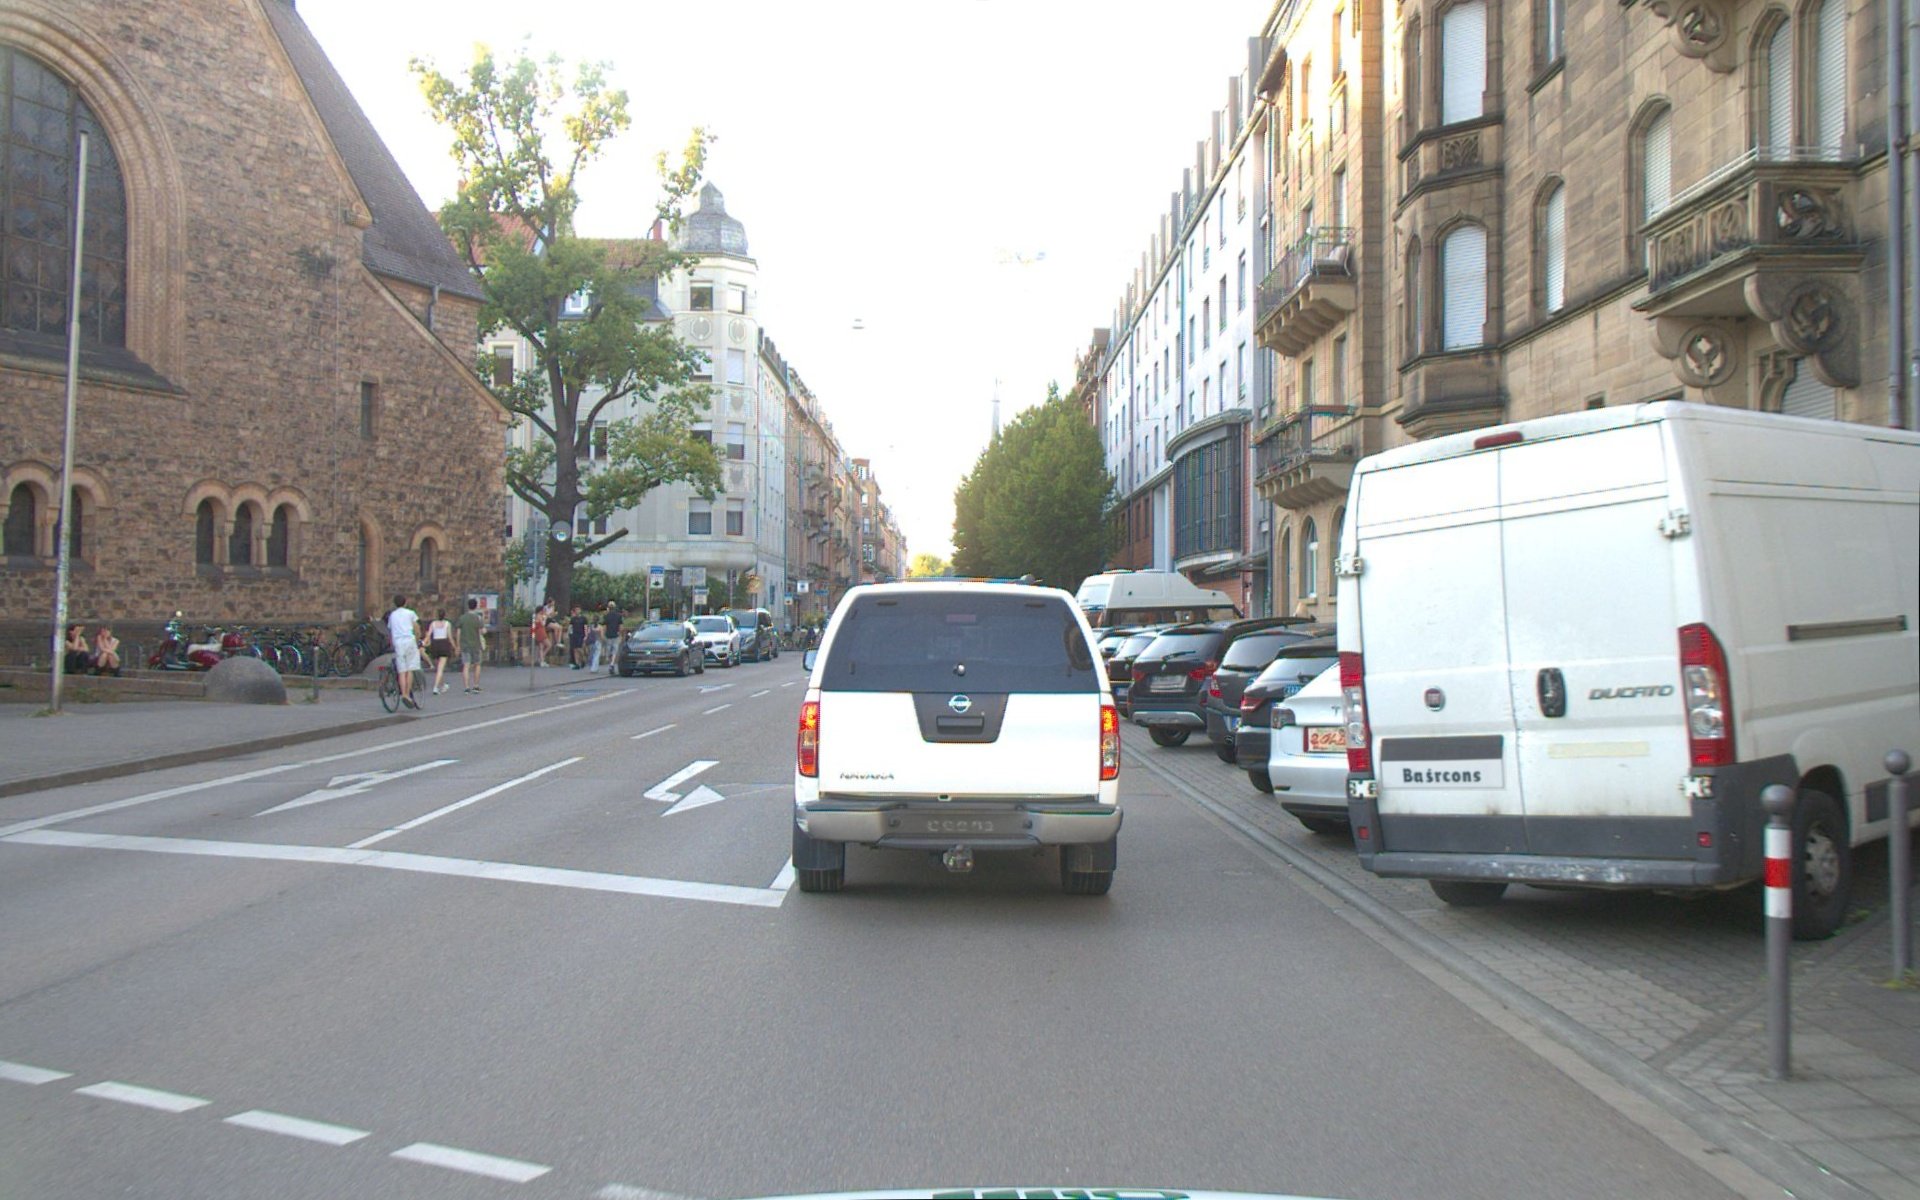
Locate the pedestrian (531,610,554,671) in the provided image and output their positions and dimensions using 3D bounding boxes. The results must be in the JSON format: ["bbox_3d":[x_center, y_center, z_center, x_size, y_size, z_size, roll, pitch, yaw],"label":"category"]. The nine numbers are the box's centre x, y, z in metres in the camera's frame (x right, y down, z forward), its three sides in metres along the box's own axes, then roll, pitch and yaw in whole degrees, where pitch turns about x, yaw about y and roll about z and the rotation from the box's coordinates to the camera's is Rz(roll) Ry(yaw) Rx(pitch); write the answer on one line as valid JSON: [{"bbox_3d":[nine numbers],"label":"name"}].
[{"bbox_3d":[-11.882,1.151,47.054,0.411,1.704,0.540,1,-2,-40],"label":"pedestrian"}]

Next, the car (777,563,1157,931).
[{"bbox_3d":[0.005,0.760,10.565,1.894,1.826,4.620,0,-1,-1],"label":"car"}]

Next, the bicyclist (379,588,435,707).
[{"bbox_3d":[-9.053,0.770,27.113,0.693,1.913,0.940,2,-1,-11],"label":"bicyclist"}]

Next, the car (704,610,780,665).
[{"bbox_3d":[-7.884,1.357,60.162,1.952,1.899,5.290,0,-1,1],"label":"car"}]

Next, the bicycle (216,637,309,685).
[{"bbox_3d":[-14.903,1.290,35.334,1.959,1.006,0.466,0,-1,15],"label":"bicycle"}]

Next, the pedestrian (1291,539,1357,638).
[{"bbox_3d":[7.926,-0.260,36.071,0.598,2.035,0.858,21,1,2],"label":"pedestrian"}]

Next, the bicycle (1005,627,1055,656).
[{"bbox_3d":[2.670,1.583,63.064,1.820,1.056,0.402,-2,-1,-2],"label":"bicycle"}]

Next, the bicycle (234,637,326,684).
[{"bbox_3d":[-14.720,1.299,35.813,1.959,1.006,0.466,0,-1,15],"label":"bicycle"}]

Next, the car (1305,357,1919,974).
[{"bbox_3d":[4.731,0.301,9.716,5.833,2.596,2.163,-1,-3,-42],"label":"car"}]

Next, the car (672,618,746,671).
[{"bbox_3d":[-7.990,1.399,53.038,1.833,1.620,4.466,0,-1,-2],"label":"car"}]

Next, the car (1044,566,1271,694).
[{"bbox_3d":[4.265,0.654,35.611,4.660,2.591,1.899,1,-2,-30],"label":"car"}]

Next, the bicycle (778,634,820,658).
[{"bbox_3d":[-7.893,2.241,81.046,2.068,1.114,0.501,0,0,25],"label":"bicycle"}]

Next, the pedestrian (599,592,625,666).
[{"bbox_3d":[-9.225,0.766,43.837,0.570,1.939,0.802,0,-1,-4],"label":"pedestrian"}]

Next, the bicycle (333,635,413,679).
[{"bbox_3d":[-13.636,1.322,38.421,1.838,1.006,0.442,0,-1,15],"label":"bicycle"}]

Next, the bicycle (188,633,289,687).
[{"bbox_3d":[-15.146,1.254,34.709,1.959,1.006,0.586,3,0,15],"label":"bicycle"}]

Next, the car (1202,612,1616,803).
[{"bbox_3d":[4.288,0.947,15.550,3.880,1.471,1.847,-1,-2,-41],"label":"car"}]

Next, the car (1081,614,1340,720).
[{"bbox_3d":[4.125,1.064,27.009,3.988,1.457,1.845,-2,-1,-35],"label":"car"}]

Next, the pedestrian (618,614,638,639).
[{"bbox_3d":[-13.766,1.105,68.629,0.692,0.997,0.836,0,-1,-2],"label":"pedestrian"}]

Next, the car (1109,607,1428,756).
[{"bbox_3d":[4.019,0.988,21.289,4.058,1.635,1.791,-2,-1,-39],"label":"car"}]

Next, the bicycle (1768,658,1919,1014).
[{"bbox_3d":[4.196,0.823,6.354,1.959,1.225,0.540,-3,-1,-9],"label":"bicycle"}]

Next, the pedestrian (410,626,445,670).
[{"bbox_3d":[-13.056,1.168,40.533,0.505,1.075,0.700,0,-1,16],"label":"pedestrian"}]

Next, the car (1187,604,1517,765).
[{"bbox_3d":[4.518,0.917,18.816,3.883,1.572,1.691,-1,-3,-42],"label":"car"}]

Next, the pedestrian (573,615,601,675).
[{"bbox_3d":[-9.864,1.186,43.774,0.570,1.579,0.838,1,-1,-4],"label":"pedestrian"}]

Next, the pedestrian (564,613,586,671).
[{"bbox_3d":[-11.066,1.215,47.512,0.411,1.650,0.540,1,-2,-40],"label":"pedestrian"}]

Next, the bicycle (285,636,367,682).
[{"bbox_3d":[-14.263,1.326,37.196,1.838,1.006,0.370,0,-1,14],"label":"bicycle"}]

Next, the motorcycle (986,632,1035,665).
[{"bbox_3d":[1.815,1.747,59.474,1.614,1.121,0.646,-2,-1,-9],"label":"motorcycle"}]

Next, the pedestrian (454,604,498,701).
[{"bbox_3d":[-9.733,1.048,33.289,0.634,1.912,0.890,0,-1,-4],"label":"pedestrian"}]

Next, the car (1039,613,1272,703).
[{"bbox_3d":[3.881,1.113,32.670,4.340,1.512,1.824,-2,-1,-31],"label":"car"}]

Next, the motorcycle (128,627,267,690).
[{"bbox_3d":[-15.218,1.158,33.036,2.364,1.145,0.822,2,-1,3],"label":"motorcycle"}]

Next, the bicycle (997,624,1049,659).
[{"bbox_3d":[2.289,1.521,60.620,1.821,1.166,0.659,-3,-1,-1],"label":"bicycle"}]

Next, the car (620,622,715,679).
[{"bbox_3d":[-7.903,1.349,45.030,1.746,1.460,4.316,0,-1,1],"label":"car"}]

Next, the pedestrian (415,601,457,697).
[{"bbox_3d":[-10.464,0.966,33.052,0.561,1.889,0.988,0,-1,-3],"label":"pedestrian"}]

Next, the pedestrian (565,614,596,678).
[{"bbox_3d":[-10.494,1.272,45.727,0.699,1.756,0.692,0,-1,0],"label":"pedestrian"}]

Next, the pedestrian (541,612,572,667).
[{"bbox_3d":[-11.678,1.133,47.914,0.637,1.572,0.585,0,-1,23],"label":"pedestrian"}]

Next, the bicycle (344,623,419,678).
[{"bbox_3d":[-13.603,1.189,38.896,1.691,1.270,0.437,0,-1,14],"label":"bicycle"}]

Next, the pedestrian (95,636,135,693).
[{"bbox_3d":[-15.272,1.153,29.891,0.555,1.009,0.688,1,-1,-34],"label":"pedestrian"}]

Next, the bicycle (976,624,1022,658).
[{"bbox_3d":[1.447,1.534,61.383,1.673,1.196,0.471,-2,-1,-2],"label":"bicycle"}]

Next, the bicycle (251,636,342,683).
[{"bbox_3d":[-14.558,1.300,36.283,1.942,1.006,0.466,0,-1,15],"label":"bicycle"}]

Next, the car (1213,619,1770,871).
[{"bbox_3d":[4.063,0.947,12.362,4.213,1.479,1.972,-1,-2,-39],"label":"car"}]

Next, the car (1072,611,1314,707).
[{"bbox_3d":[4.230,1.061,29.947,4.062,1.573,1.778,-1,-3,-29],"label":"car"}]

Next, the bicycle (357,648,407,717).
[{"bbox_3d":[-9.390,1.319,26.908,0.542,1.030,2.180,2,-1,-14],"label":"bicycle"}]

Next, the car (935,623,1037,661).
[{"bbox_3d":[1.084,1.759,69.153,3.944,1.533,1.753,0,-1,-30],"label":"car"}]

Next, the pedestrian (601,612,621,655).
[{"bbox_3d":[-14.489,1.398,68.647,0.692,1.751,0.836,0,-1,-2],"label":"pedestrian"}]

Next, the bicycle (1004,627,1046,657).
[{"bbox_3d":[2.446,1.578,61.944,1.508,1.056,0.471,-2,-1,-2],"label":"bicycle"}]

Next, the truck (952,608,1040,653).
[{"bbox_3d":[2.600,2.209,118.726,6.190,3.029,2.264,1,-4,1],"label":"truck"}]

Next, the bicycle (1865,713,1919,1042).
[{"bbox_3d":[4.253,0.914,5.776,1.959,1.106,0.540,-3,-1,-9],"label":"bicycle"}]

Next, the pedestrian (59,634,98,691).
[{"bbox_3d":[-15.734,1.107,29.506,0.555,0.984,0.642,1,-1,-34],"label":"pedestrian"}]

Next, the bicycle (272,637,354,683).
[{"bbox_3d":[-14.378,1.319,36.747,1.838,1.006,0.370,0,-1,15],"label":"bicycle"}]

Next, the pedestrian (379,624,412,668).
[{"bbox_3d":[-13.789,1.113,40.382,0.487,1.067,0.607,0,-1,20],"label":"pedestrian"}]
